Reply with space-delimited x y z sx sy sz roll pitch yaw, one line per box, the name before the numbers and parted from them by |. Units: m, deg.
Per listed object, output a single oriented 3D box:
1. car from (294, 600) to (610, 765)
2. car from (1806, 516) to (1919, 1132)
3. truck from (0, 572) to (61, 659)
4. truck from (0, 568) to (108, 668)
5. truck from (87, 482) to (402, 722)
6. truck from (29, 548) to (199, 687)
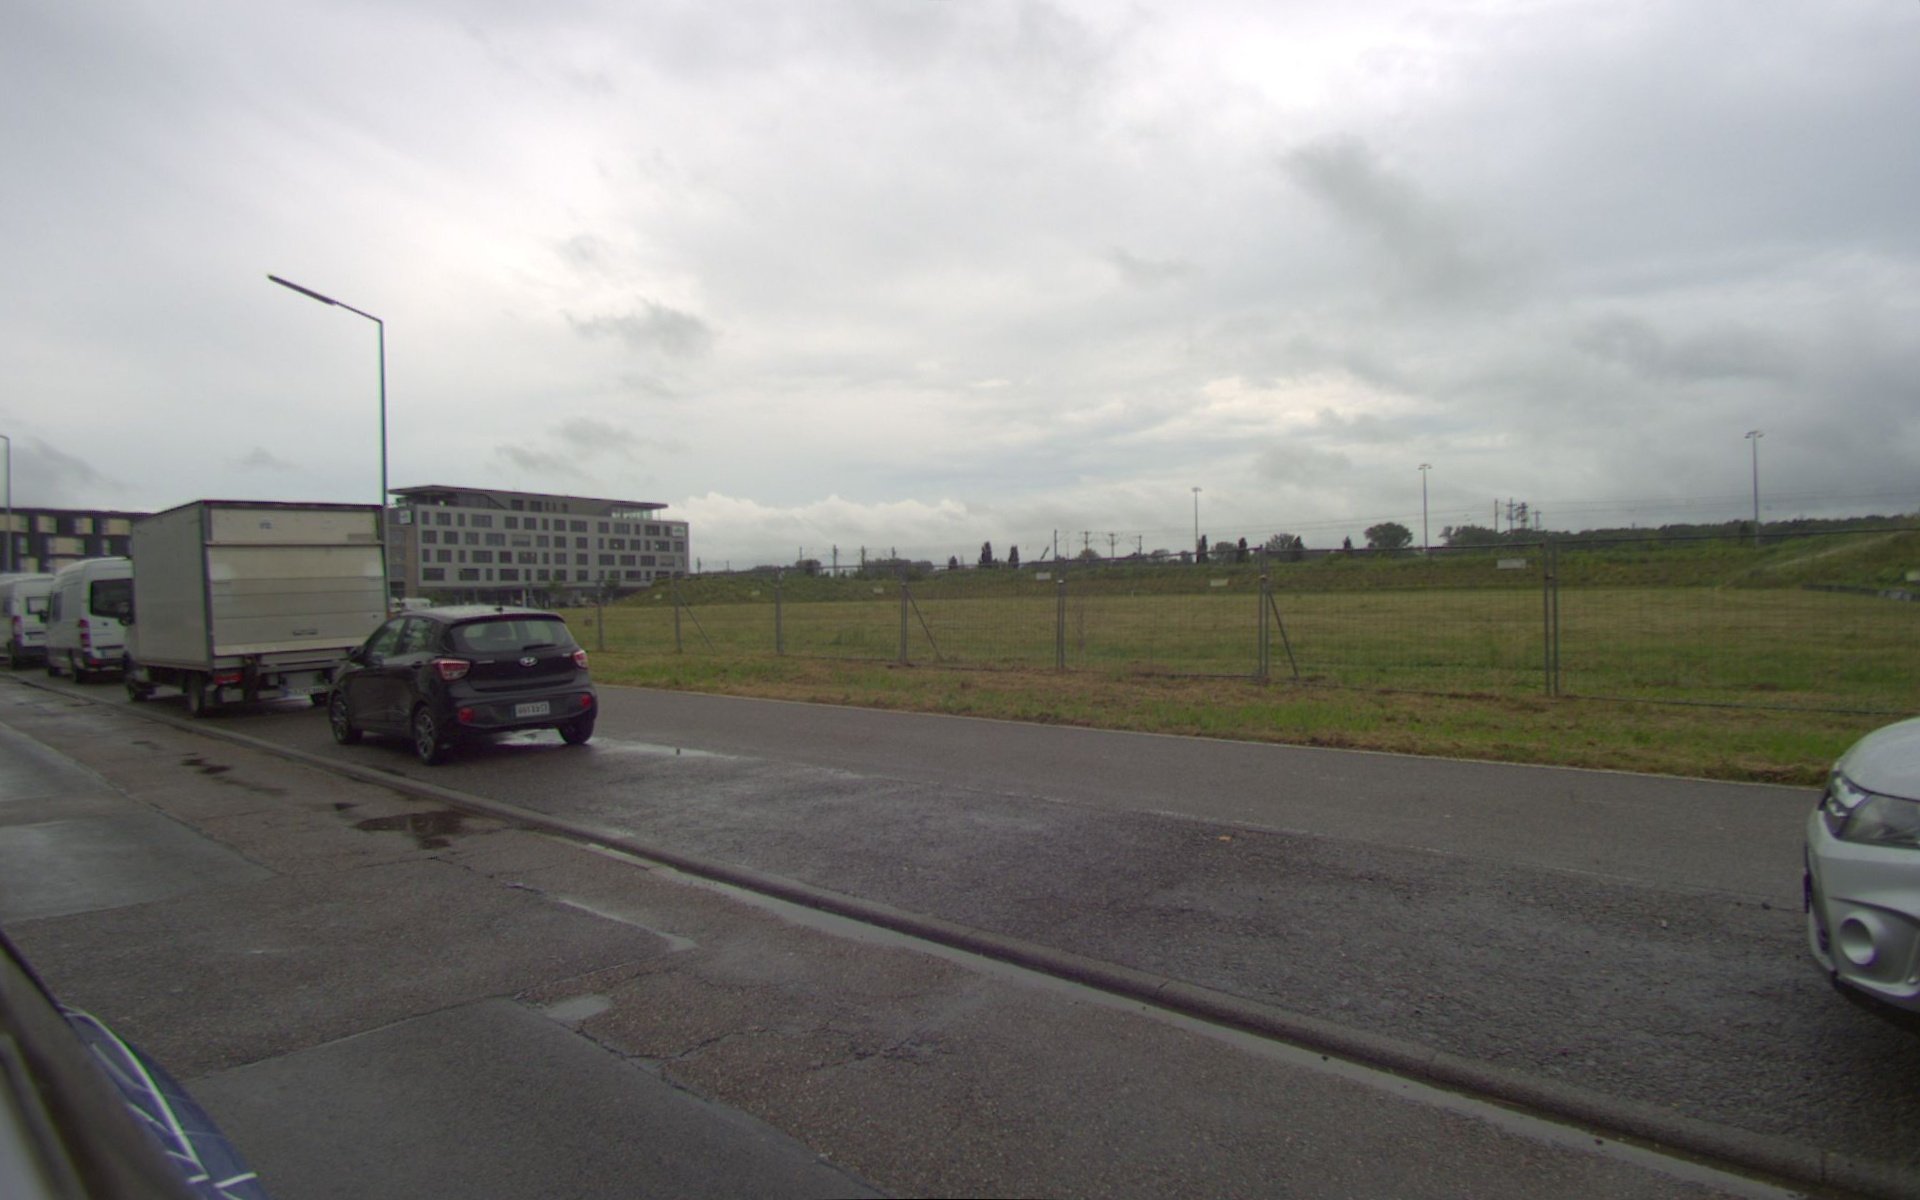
car | -5.723 0.782 11.176 4.154 1.474 1.655 -1 0 41
car | 4.862 0.507 1.884 4.984 1.619 1.835 -1 3 40
truck | -32.169 0.529 34.056 5.287 2.767 2.152 -1 0 41
truck | -26.793 0.499 29.382 6.128 2.626 2.152 -1 1 41
truck | -11.588 0.034 16.124 6.695 3.091 2.411 -1 1 40
truck | -19.647 0.363 23.354 6.736 2.787 2.019 -1 1 42
